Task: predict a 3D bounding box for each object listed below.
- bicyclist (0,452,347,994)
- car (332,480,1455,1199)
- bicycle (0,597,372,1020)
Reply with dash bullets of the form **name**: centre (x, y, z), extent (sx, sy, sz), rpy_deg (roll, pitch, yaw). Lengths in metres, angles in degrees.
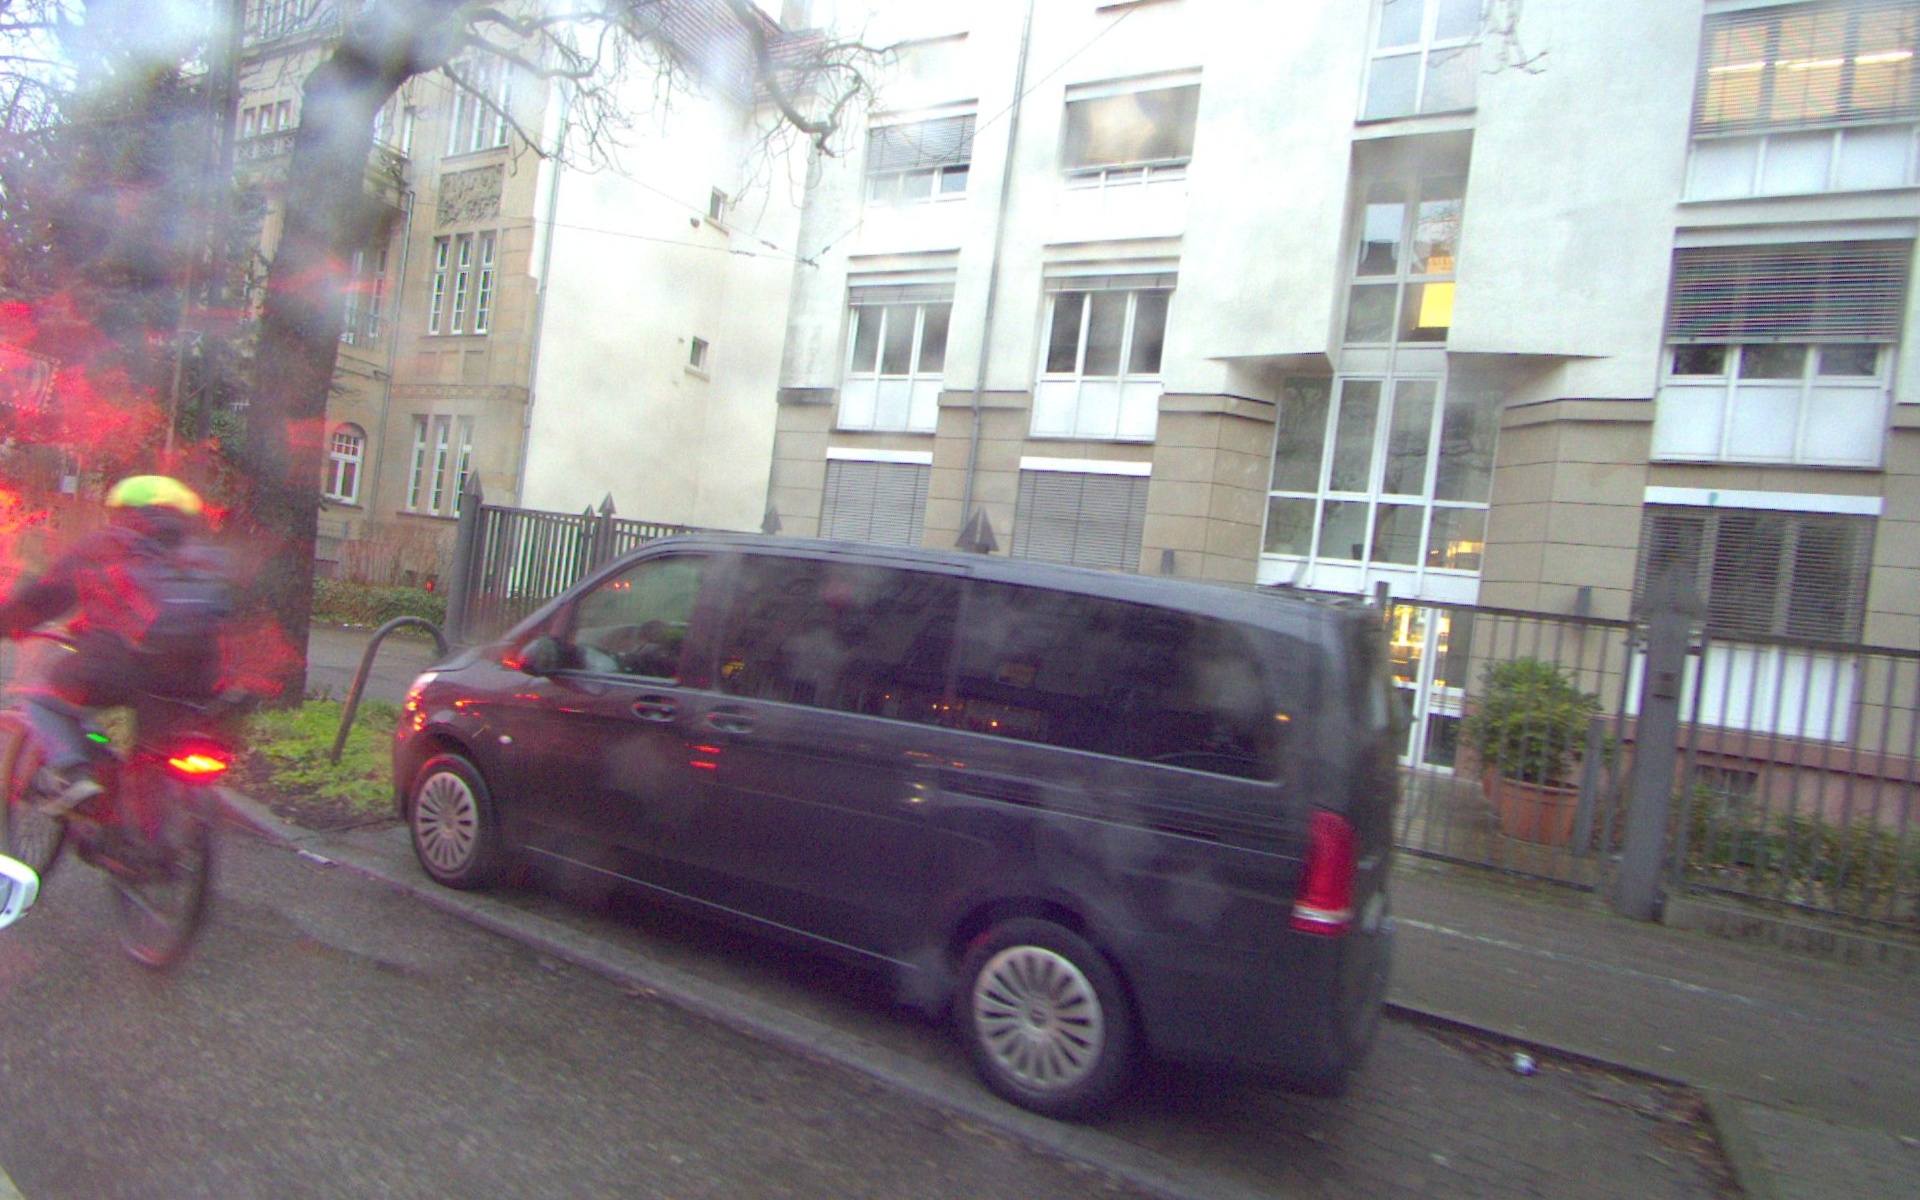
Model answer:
- **bicyclist**: centre (-3.106, 0.390, 3.732), extent (1.037, 1.680, 0.720), rpy_deg (7, -3, 24)
- **car**: centre (-0.477, 0.671, 4.821), extent (4.878, 1.899, 2.034), rpy_deg (7, 0, 29)
- **bicycle**: centre (-3.285, 0.651, 3.795), extent (1.906, 1.123, 0.720), rpy_deg (8, -4, 24)
